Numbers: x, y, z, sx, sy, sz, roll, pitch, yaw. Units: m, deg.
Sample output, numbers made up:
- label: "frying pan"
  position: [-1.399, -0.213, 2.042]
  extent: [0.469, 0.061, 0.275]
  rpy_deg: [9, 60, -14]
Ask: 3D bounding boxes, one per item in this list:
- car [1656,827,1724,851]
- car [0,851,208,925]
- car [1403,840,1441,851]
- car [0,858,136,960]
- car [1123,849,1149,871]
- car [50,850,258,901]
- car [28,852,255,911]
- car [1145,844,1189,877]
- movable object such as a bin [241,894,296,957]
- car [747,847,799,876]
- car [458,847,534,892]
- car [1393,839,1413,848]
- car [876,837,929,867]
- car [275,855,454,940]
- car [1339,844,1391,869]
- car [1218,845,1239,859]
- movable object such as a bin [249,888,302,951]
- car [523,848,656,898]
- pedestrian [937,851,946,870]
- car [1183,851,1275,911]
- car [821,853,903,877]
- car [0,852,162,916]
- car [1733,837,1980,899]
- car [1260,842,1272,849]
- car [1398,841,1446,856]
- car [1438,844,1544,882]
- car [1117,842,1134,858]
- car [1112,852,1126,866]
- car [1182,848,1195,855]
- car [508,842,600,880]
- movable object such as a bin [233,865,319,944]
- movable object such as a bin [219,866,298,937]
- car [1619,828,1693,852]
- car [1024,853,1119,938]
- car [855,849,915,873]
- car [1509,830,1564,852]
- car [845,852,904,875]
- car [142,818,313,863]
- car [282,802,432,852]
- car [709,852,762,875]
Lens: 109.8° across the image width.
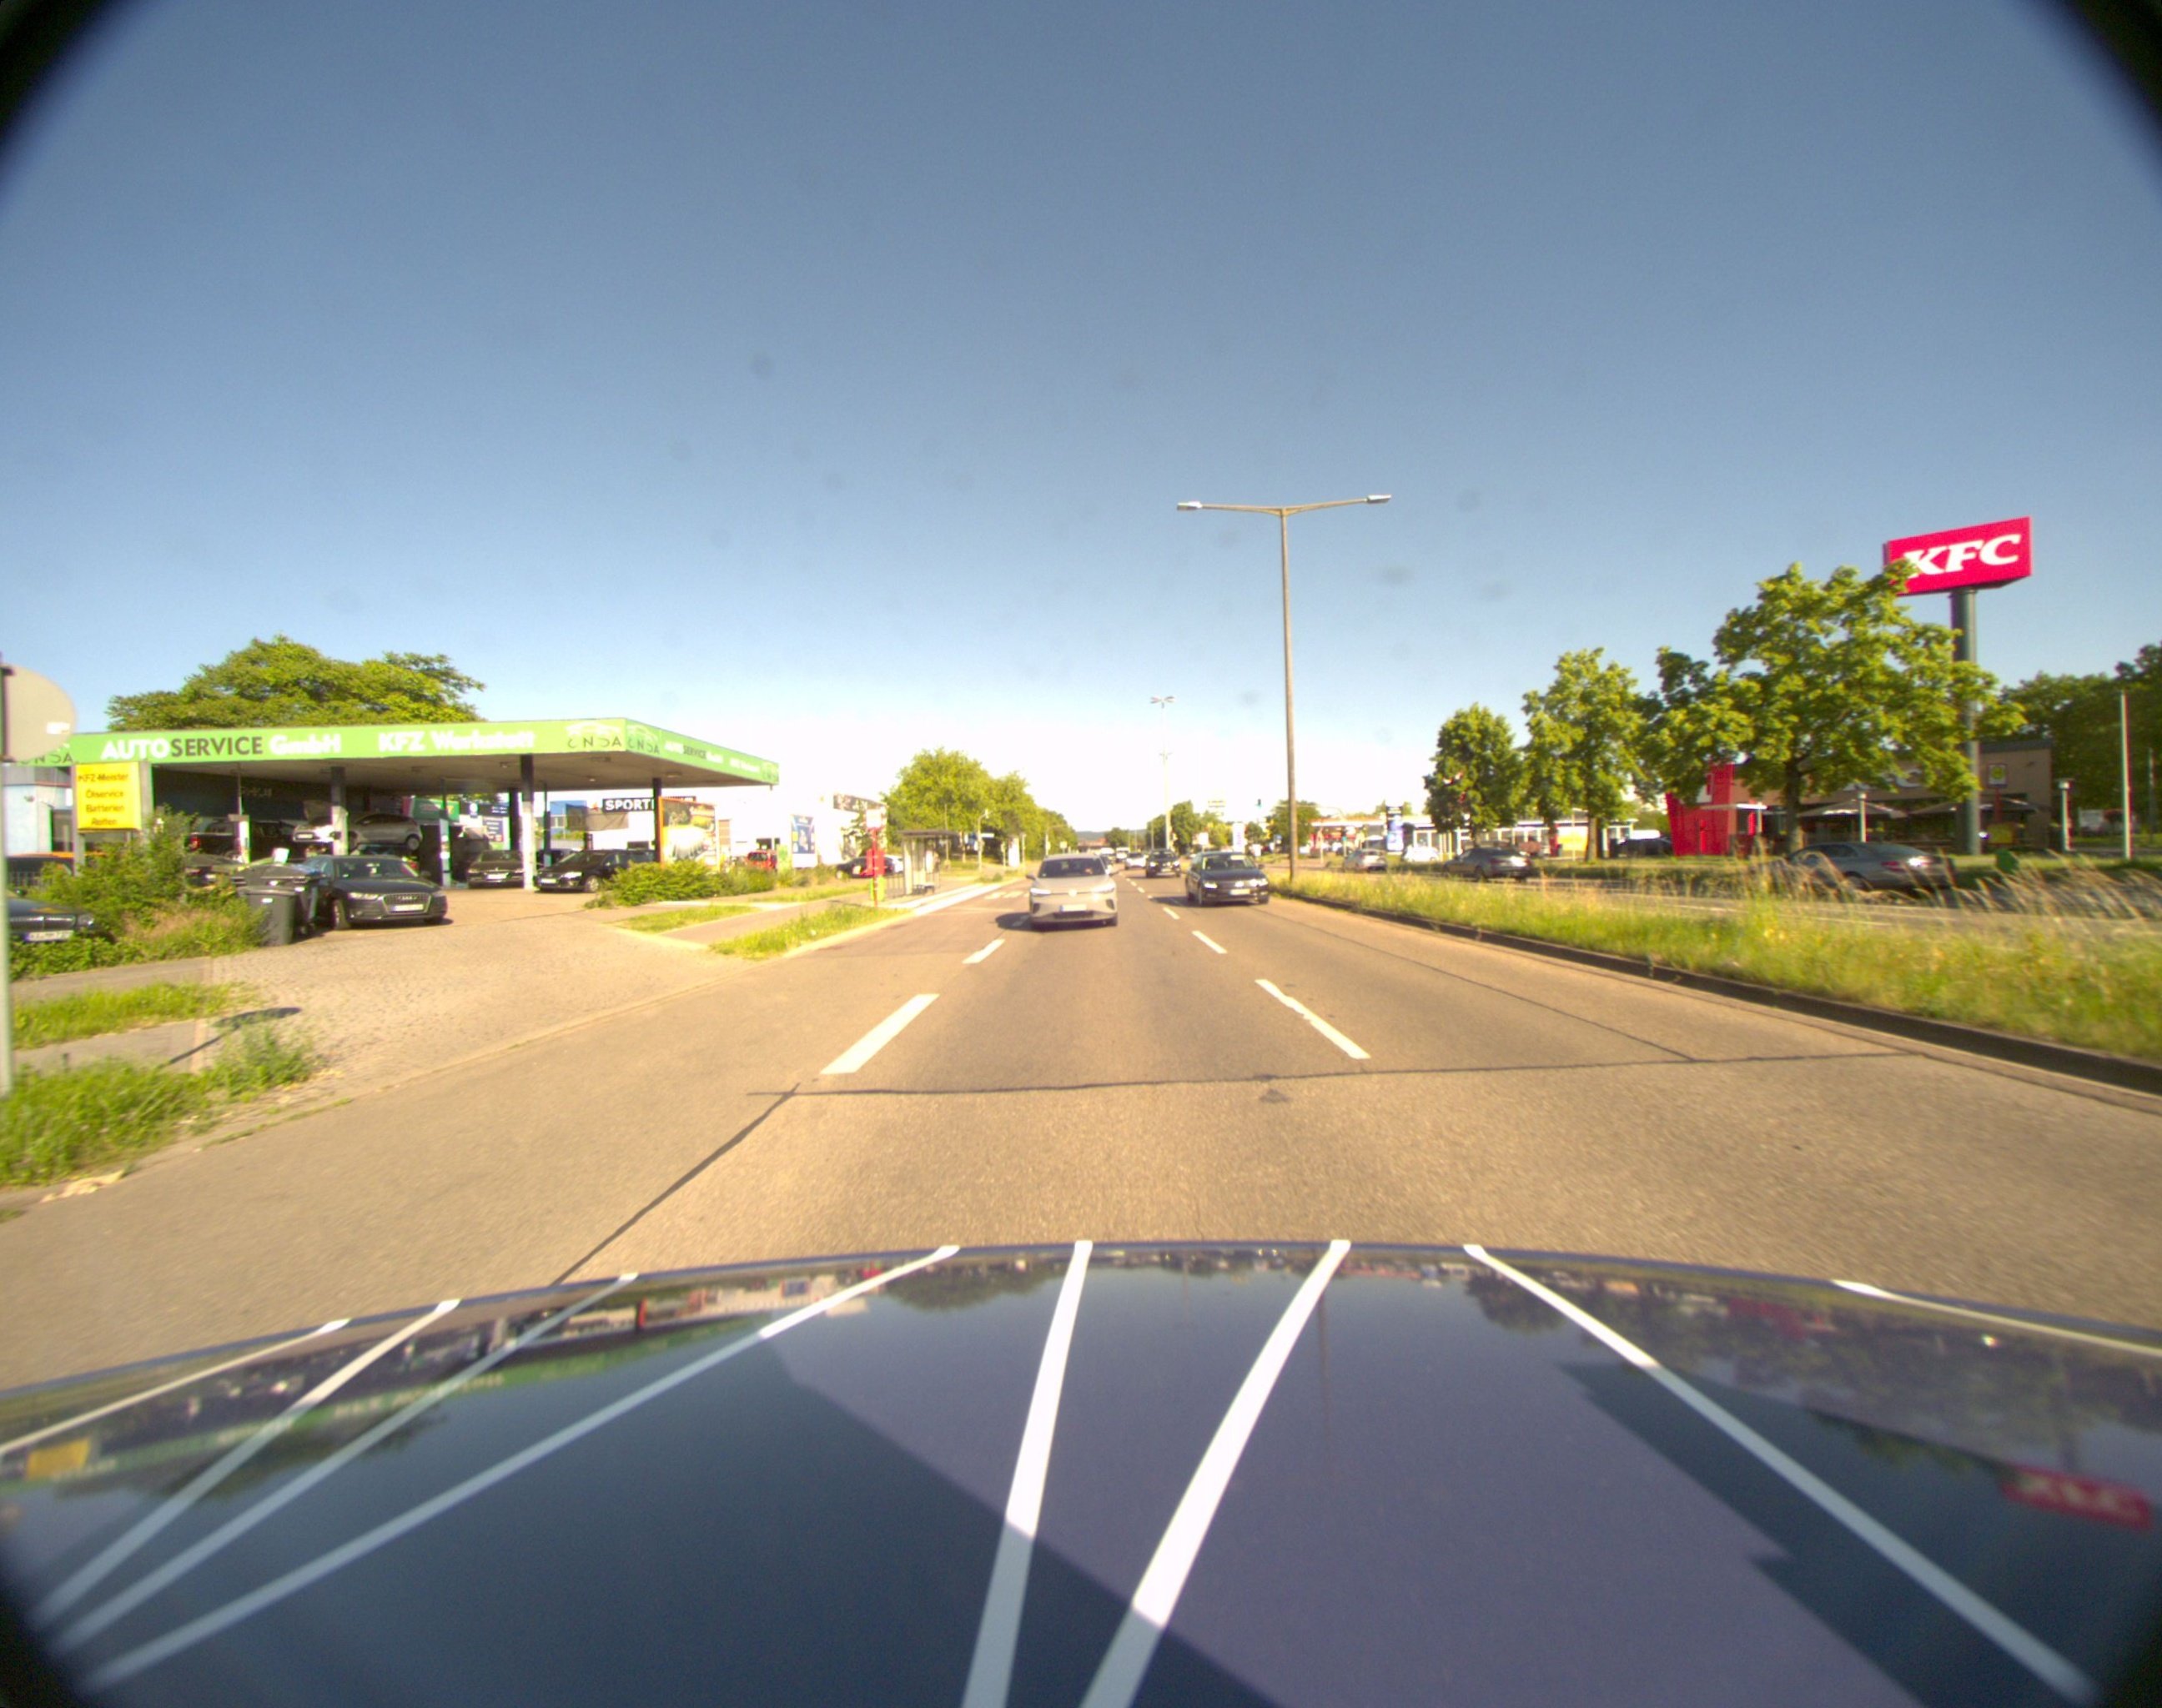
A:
- label: "car"
  position: [48.571, -1.166, 60.615]
  extent: [1.887, 1.738, 3.989]
  rpy_deg: [-2, 0, -43]
- label: "car"
  position: [-22.484, 0.722, 16.783]
  extent: [1.728, 1.455, 3.915]
  rpy_deg: [-3, 1, 2]
- label: "car"
  position: [44.568, -1.158, 99.237]
  extent: [4.116, 1.424, 1.901]
  rpy_deg: [0, 1, 1]
- label: "car"
  position: [-16.758, 0.863, 11.285]
  extent: [3.292, 1.409, 1.728]
  rpy_deg: [-3, 1, 3]
- label: "car"
  position: [4.884, 0.467, 67.670]
  extent: [1.998, 1.779, 4.270]
  rpy_deg: [-3, 1, 1]
- label: "car"
  position: [-28.035, 0.622, 23.086]
  extent: [3.998, 1.409, 1.711]
  rpy_deg: [-1, 1, -3]
- label: "car"
  position: [-26.116, 0.738, 21.241]
  extent: [3.998, 1.508, 1.735]
  rpy_deg: [-1, 1, -3]
- label: "car"
  position: [4.909, 0.318, 43.899]
  extent: [1.998, 1.674, 4.696]
  rpy_deg: [-3, 1, 1]
- label: "movable object such as a bin"
  position: [-14.647, 1.274, 13.703]
  extent: [0.583, 1.068, 0.509]
  rpy_deg: [-3, 1, -40]
- label: "car"
  position: [-21.222, 0.486, 52.465]
  extent: [1.898, 1.850, 4.215]
  rpy_deg: [2, 1, -1]
- label: "car"
  position: [-21.844, 0.576, 28.508]
  extent: [2.003, 1.477, 3.990]
  rpy_deg: [-4, 1, -35]
- label: "car"
  position: [58.983, -1.880, 139.389]
  extent: [1.900, 1.582, 4.119]
  rpy_deg: [0, 1, 0]
- label: "car"
  position: [-14.352, -0.139, 61.010]
  extent: [3.987, 2.002, 1.690]
  rpy_deg: [6, 1, 33]
- label: "car"
  position: [-16.497, 0.892, 17.449]
  extent: [4.547, 1.630, 1.805]
  rpy_deg: [1, 1, 31]
- label: "car"
  position: [16.994, 0.125, 45.680]
  extent: [1.645, 1.442, 4.111]
  rpy_deg: [0, 1, 1]
- label: "car"
  position: [18.535, -0.258, 95.685]
  extent: [1.998, 1.674, 4.177]
  rpy_deg: [0, 1, 1]
- label: "movable object such as a bin"
  position: [-15.005, 1.209, 14.168]
  extent: [0.583, 1.114, 0.508]
  rpy_deg: [-3, 1, -40]
- label: "car"
  position: [-17.146, 0.610, 26.794]
  extent: [1.748, 1.563, 4.249]
  rpy_deg: [-2, 0, 2]
- label: "pedestrian"
  position: [-13.146, 0.626, 71.648]
  extent: [0.759, 1.706, 0.617]
  rpy_deg: [-1, 1, 1]
- label: "car"
  position: [4.057, 0.674, 21.500]
  extent: [1.848, 1.445, 4.265]
  rpy_deg: [-3, 0, 2]
- label: "car"
  position: [-14.451, 0.717, 50.301]
  extent: [1.895, 1.522, 4.846]
  rpy_deg: [1, 1, 45]
- label: "car"
  position: [-26.336, 0.743, 19.178]
  extent: [3.998, 1.508, 1.697]
  rpy_deg: [-1, 1, -3]
- label: "car"
  position: [20.025, 0.299, 19.973]
  extent: [1.919, 1.446, 4.489]
  rpy_deg: [0, 1, 1]
- label: "car"
  position: [40.688, -1.907, 167.348]
  extent: [1.762, 1.604, 4.119]
  rpy_deg: [0, 1, 0]
- label: "car"
  position: [36.061, -0.551, 80.472]
  extent: [4.192, 1.465, 2.000]
  rpy_deg: [-1, 1, 2]
- label: "car"
  position: [16.429, 0.305, 30.731]
  extent: [1.822, 1.426, 4.630]
  rpy_deg: [0, 1, 1]
- label: "car"
  position: [6.374, -0.589, 109.325]
  extent: [2.089, 2.229, 4.000]
  rpy_deg: [-3, 1, 1]
- label: "car"
  position: [6.140, 0.768, 122.275]
  extent: [1.998, 2.002, 4.000]
  rpy_deg: [-3, 1, 1]
- label: "car"
  position: [22.308, -0.467, 157.936]
  extent: [1.998, 1.368, 4.623]
  rpy_deg: [-1, 1, 1]
- label: "car"
  position: [-29.601, 0.358, 42.768]
  extent: [3.700, 1.896, 1.924]
  rpy_deg: [-3, 1, 1]
- label: "movable object such as a bin"
  position: [-15.654, 0.961, 14.821]
  extent: [0.991, 1.420, 1.257]
  rpy_deg: [-3, 0, -41]
- label: "movable object such as a bin"
  position: [-17.561, 0.987, 16.266]
  extent: [0.991, 1.420, 1.221]
  rpy_deg: [-2, 1, -41]
- label: "car"
  position: [44.242, -1.065, 58.494]
  extent: [1.899, 1.652, 4.231]
  rpy_deg: [-4, 1, -41]
- label: "car"
  position: [-0.122, 0.839, 17.389]
  extent: [1.848, 1.615, 4.265]
  rpy_deg: [-3, 0, 2]
- label: "car"
  position: [-14.943, 0.546, 57.964]
  extent: [3.924, 1.444, 1.726]
  rpy_deg: [5, 2, 12]
- label: "car"
  position: [41.702, -1.173, 69.600]
  extent: [1.850, 1.840, 3.820]
  rpy_deg: [-4, 1, -39]
- label: "car"
  position: [-14.805, 0.676, 54.703]
  extent: [3.614, 1.283, 1.841]
  rpy_deg: [5, 2, 2]
- label: "car"
  position: [-30.424, -0.469, 27.256]
  extent: [1.923, 1.469, 3.627]
  rpy_deg: [-1, 1, 2]
- label: "car"
  position: [-27.333, -0.990, 28.881]
  extent: [1.923, 1.745, 3.778]
  rpy_deg: [-1, 1, 2]
- label: "car"
  position: [-23.751, 0.617, 52.357]
  extent: [1.771, 1.245, 4.214]
  rpy_deg: [4, 3, -1]
